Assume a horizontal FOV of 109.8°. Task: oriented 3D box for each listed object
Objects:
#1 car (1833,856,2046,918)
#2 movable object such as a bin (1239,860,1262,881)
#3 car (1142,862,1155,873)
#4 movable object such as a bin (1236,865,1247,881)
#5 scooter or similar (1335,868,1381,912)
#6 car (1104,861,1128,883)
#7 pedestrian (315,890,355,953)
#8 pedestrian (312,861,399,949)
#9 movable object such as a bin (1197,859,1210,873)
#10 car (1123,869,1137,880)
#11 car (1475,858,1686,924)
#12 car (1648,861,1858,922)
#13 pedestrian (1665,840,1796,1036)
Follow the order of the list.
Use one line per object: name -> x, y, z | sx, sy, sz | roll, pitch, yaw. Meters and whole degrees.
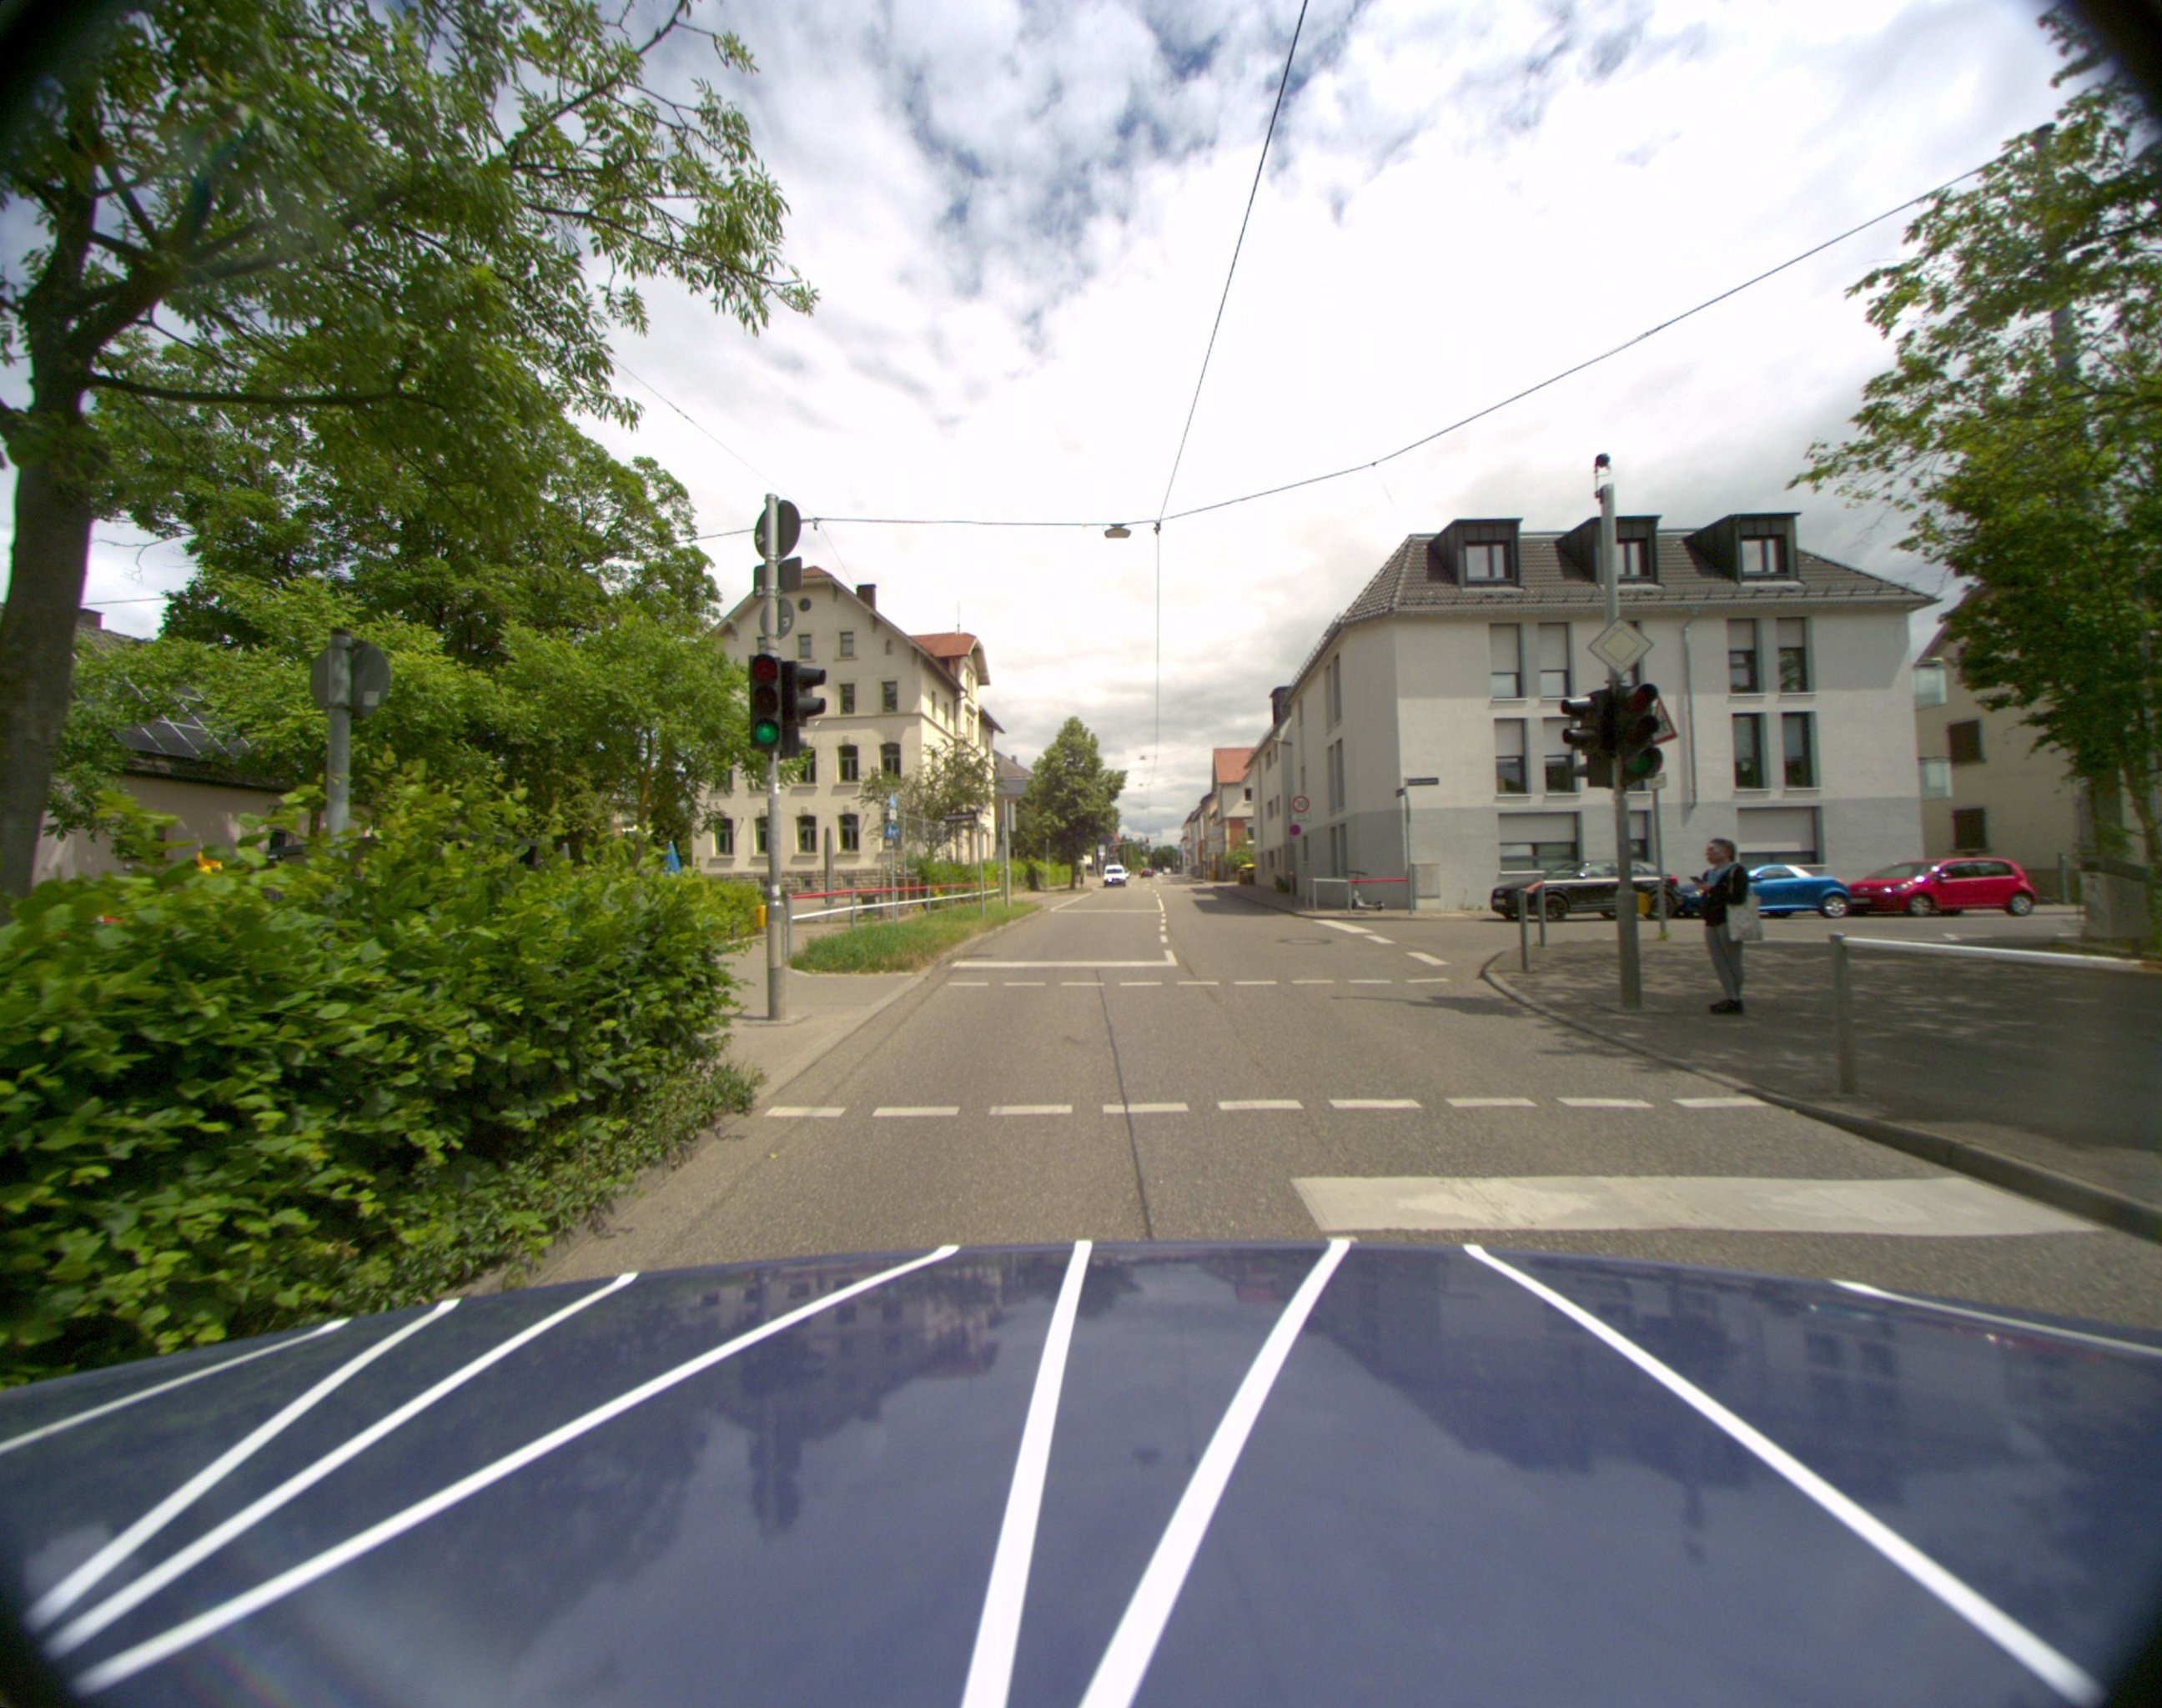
car -> 21.628, 0.852, 19.236 | 3.610, 1.463, 1.551 | -1, -3, -2
movable object such as a bin -> 12.106, 1.196, 54.371 | 1.338, 1.437, 1.171 | -2, 0, 1
car -> 9.905, 2.007, 111.926 | 1.794, 1.477, 4.003 | -3, -2, 5
movable object such as a bin -> 11.171, 1.337, 52.948 | 0.642, 1.069, 0.660 | -2, 0, 2
scooter or similar -> 8.300, 1.056, 22.784 | 0.491, 1.254, 1.305 | -1, 0, -25
car -> 2.954, 1.488, 63.369 | 1.893, 1.717, 4.294 | -2, -1, 3
pedestrian -> -14.884, 1.337, 15.176 | 0.406, 1.223, 0.461 | -1, 0, -21
pedestrian -> -15.696, 1.109, 16.473 | 0.751, 1.806, 1.147 | -1, -4, -6
movable object such as a bin -> 11.444, 1.093, 70.970 | 0.766, 1.156, 0.802 | -11, 5, -4
car -> 6.867, 2.860, 106.054 | 1.794, 1.477, 4.003 | -3, -2, 5
car -> 12.370, 0.932, 19.017 | 3.997, 1.467, 1.859 | -1, -2, -1
car -> 16.843, 0.950, 19.188 | 3.791, 1.391, 1.603 | -1, -2, 2
pedestrian -> 5.737, 0.694, 6.714 | 0.774, 1.588, 0.670 | -2, 0, -36
